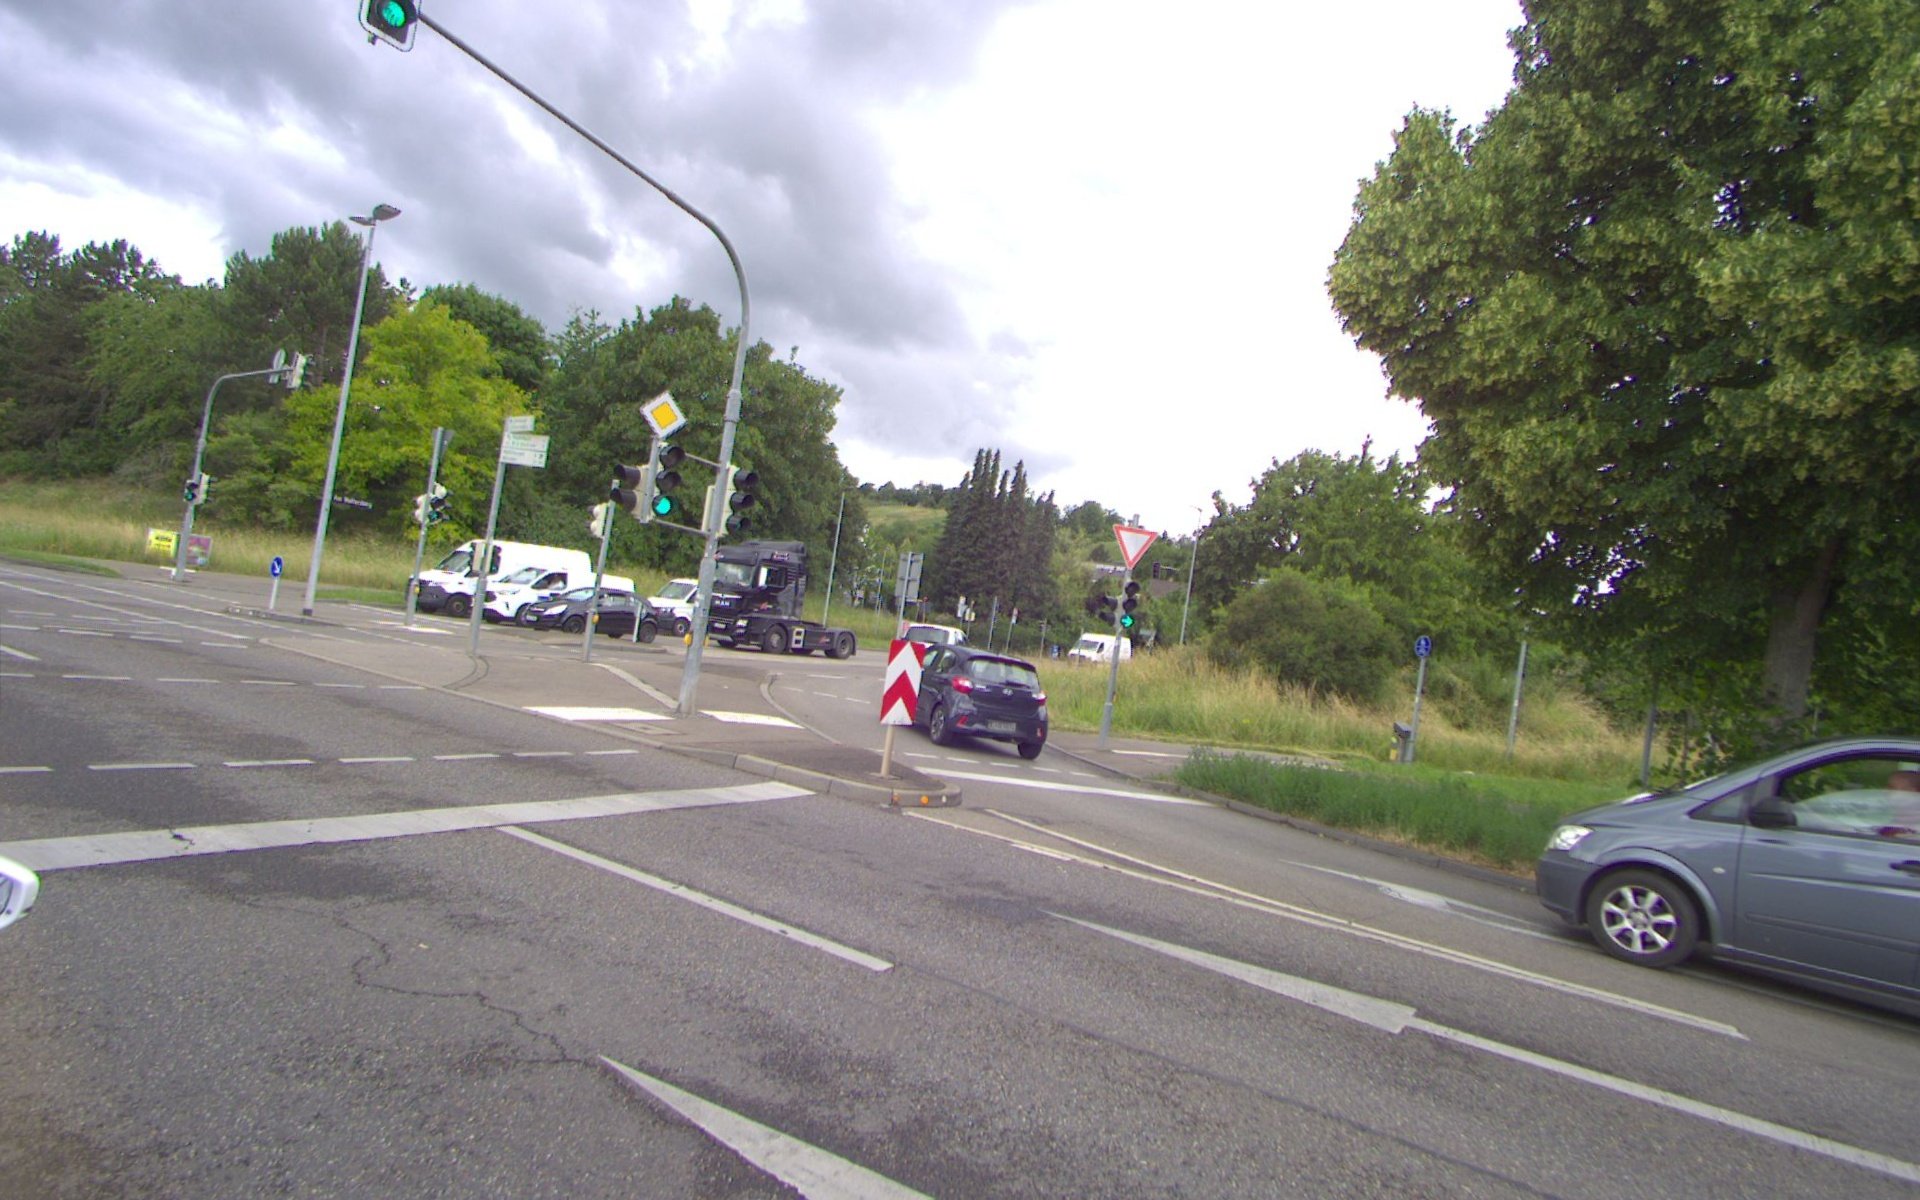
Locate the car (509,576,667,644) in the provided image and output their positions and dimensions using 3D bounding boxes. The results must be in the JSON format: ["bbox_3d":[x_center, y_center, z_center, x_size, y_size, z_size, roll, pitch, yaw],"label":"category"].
[{"bbox_3d":[-10.607,0.334,28.932,1.703,1.453,3.927,7,-1,31],"label":"car"}]

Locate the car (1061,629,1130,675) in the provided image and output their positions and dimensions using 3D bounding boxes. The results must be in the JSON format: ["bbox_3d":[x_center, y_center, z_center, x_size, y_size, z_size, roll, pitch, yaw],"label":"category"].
[{"bbox_3d":[9.686,3.748,71.443,2.160,2.640,6.509,7,-1,32],"label":"car"}]

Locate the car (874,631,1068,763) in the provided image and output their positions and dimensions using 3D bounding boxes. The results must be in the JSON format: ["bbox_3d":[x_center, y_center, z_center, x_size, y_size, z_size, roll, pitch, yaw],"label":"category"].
[{"bbox_3d":[0.049,1.445,15.863,1.605,1.446,3.597,11,-2,-22],"label":"car"}]

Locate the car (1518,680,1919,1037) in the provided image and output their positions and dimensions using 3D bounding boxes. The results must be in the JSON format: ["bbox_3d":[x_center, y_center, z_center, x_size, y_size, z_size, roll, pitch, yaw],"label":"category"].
[{"bbox_3d":[6.571,1.849,6.596,4.656,1.852,1.917,6,-5,41],"label":"car"}]

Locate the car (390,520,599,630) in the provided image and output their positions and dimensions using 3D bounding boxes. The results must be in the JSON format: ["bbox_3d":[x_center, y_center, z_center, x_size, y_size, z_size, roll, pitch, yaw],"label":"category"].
[{"bbox_3d":[-15.337,-0.737,33.600,2.100,2.814,5.903,7,-1,32],"label":"car"}]

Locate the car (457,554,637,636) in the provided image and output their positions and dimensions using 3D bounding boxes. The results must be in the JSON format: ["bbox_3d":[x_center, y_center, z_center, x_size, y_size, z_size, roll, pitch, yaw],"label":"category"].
[{"bbox_3d":[-12.934,-0.096,31.819,1.999,1.918,4.862,7,-1,31],"label":"car"}]

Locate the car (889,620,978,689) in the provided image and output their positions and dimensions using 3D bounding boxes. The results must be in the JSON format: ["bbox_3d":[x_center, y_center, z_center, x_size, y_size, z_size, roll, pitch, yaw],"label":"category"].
[{"bbox_3d":[-0.696,1.583,29.650,1.750,1.613,4.463,9,-1,7],"label":"car"}]

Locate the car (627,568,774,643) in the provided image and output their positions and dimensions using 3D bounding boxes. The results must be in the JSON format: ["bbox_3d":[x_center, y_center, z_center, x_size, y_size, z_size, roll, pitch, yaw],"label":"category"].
[{"bbox_3d":[-10.427,0.289,40.908,2.100,2.316,5.709,7,-1,32],"label":"car"}]

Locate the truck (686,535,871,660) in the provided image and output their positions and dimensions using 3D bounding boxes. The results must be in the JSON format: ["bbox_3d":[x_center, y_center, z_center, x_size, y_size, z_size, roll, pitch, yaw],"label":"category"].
[{"bbox_3d":[-6.213,0.023,35.343,2.682,3.580,6.061,7,-1,32],"label":"truck"}]
